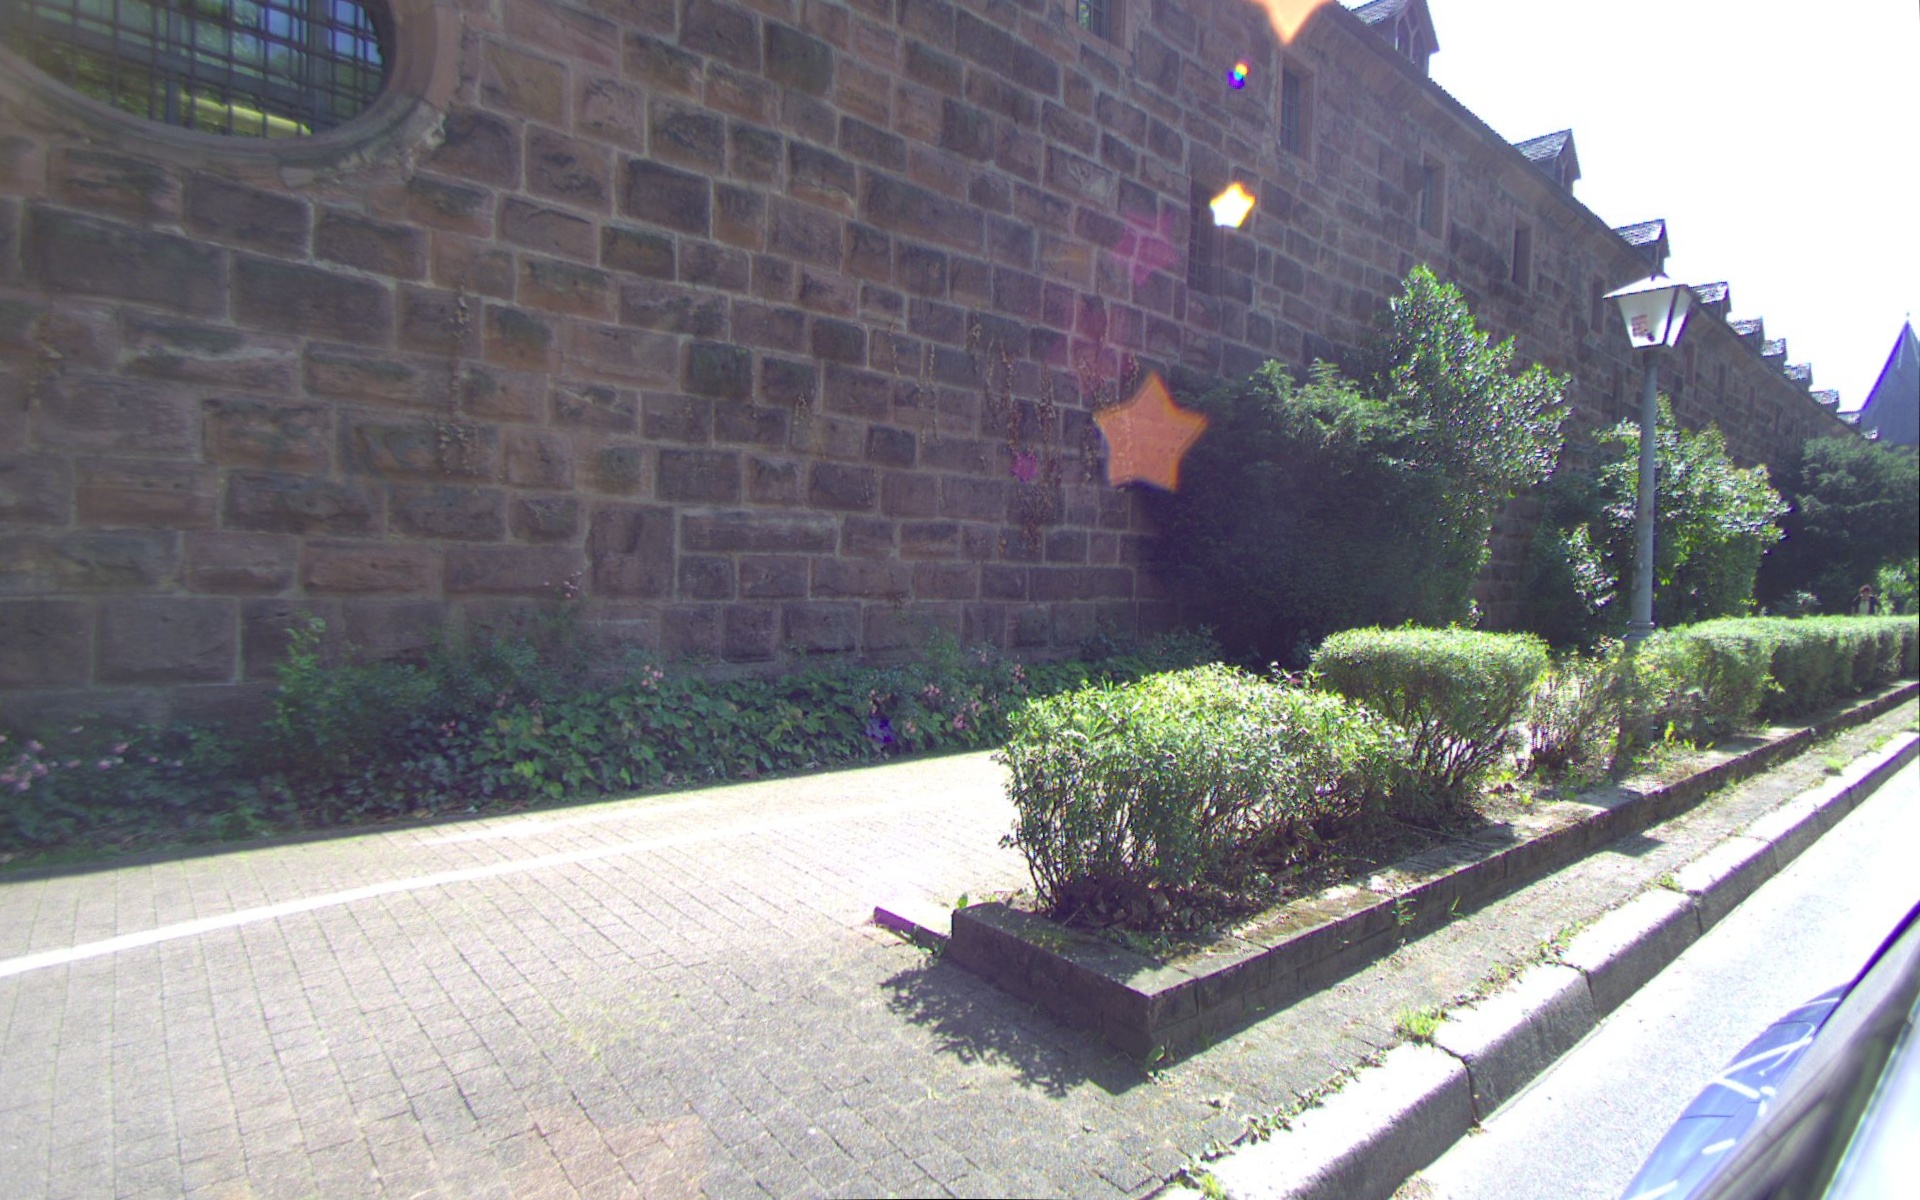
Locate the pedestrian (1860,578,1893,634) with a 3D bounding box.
[{"bbox_3d":[26.502,0.168,29.276,0.554,1.583,0.642,0,0,-41],"label":"pedestrian"}]
